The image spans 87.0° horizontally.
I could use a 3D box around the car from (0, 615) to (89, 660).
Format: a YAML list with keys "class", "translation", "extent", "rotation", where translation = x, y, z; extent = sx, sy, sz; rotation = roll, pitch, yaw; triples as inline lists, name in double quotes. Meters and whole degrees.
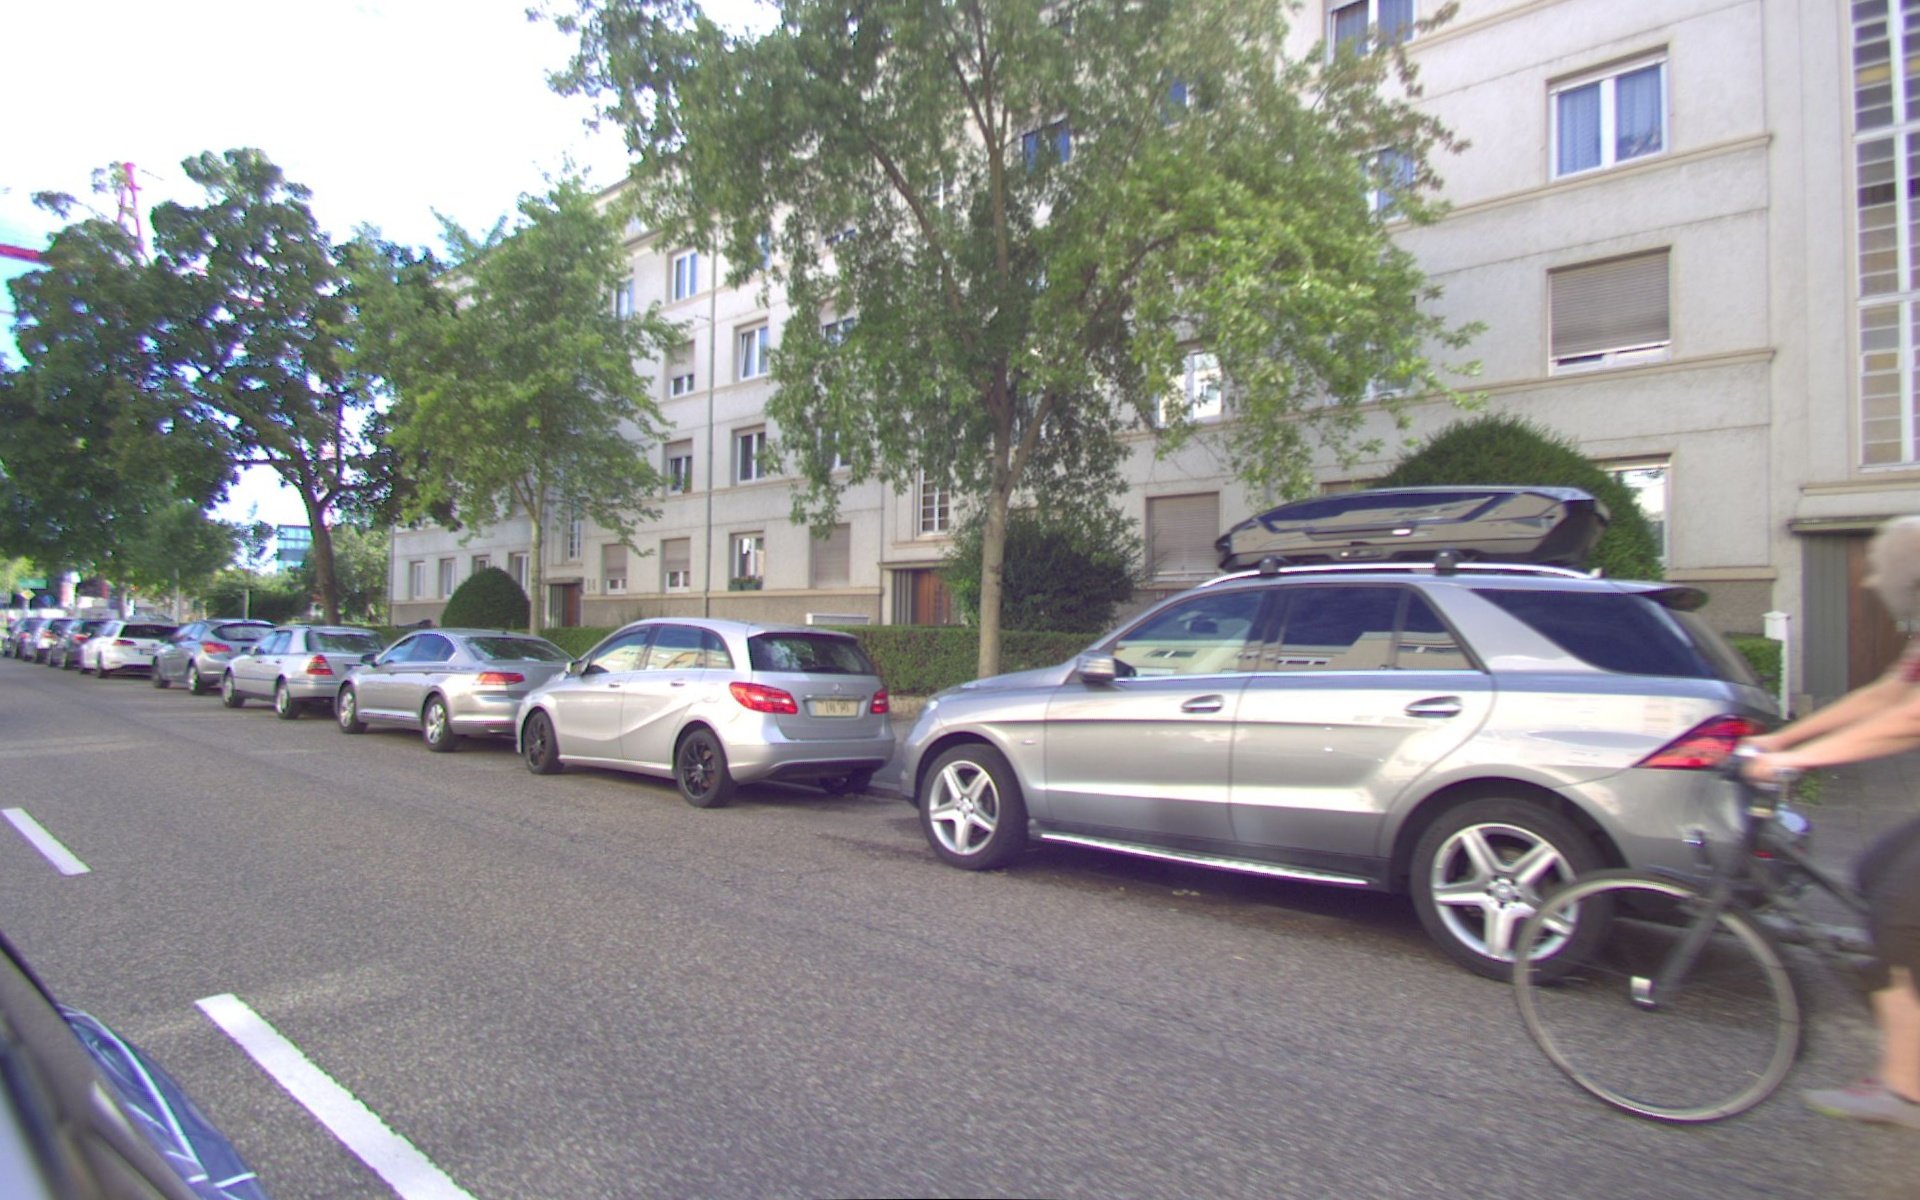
- class: "car"
  translation: [-32.817, 1.323, 36.025]
  extent: [4.415, 1.497, 1.908]
  rotation: [-1, -4, 39]

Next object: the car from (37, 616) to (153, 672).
- class: "car"
  translation: [-25.123, 1.229, 29.339]
  extent: [4.681, 1.497, 1.836]
  rotation: [-1, -3, 41]

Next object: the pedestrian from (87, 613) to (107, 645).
- class: "pedestrian"
  translation: [-48.678, 1.613, 57.073]
  extent: [0.775, 1.781, 0.734]
  rotation: [-1, -2, 40]

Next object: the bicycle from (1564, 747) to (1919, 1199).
- class: "bicycle"
  translation: [2.529, 0.910, 2.348]
  extent: [1.857, 0.930, 0.635]
  rotation: [-1, -3, 41]

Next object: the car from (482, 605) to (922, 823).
- class: "car"
  translation: [-2.612, 0.909, 9.585]
  extent: [4.458, 1.585, 1.835]
  rotation: [-1, -4, 42]

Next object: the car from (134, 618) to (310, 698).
- class: "car"
  translation: [-15.551, 1.160, 21.243]
  extent: [4.679, 1.497, 1.837]
  rotation: [-1, -3, 39]

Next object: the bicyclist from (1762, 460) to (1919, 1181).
- class: "bicyclist"
  translation: [2.533, 0.498, 2.369]
  extent: [0.989, 1.613, 0.634]
  rotation: [-1, -3, 41]

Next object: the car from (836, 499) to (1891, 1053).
- class: "car"
  translation: [1.718, 0.657, 5.643]
  extent: [4.966, 1.807, 1.858]
  rotation: [-1, -4, 40]

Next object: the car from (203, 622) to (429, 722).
- class: "car"
  translation: [-10.587, 1.110, 16.488]
  extent: [4.662, 1.404, 1.720]
  rotation: [-1, -5, 40]

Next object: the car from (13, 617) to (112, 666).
- class: "car"
  translation: [-29.207, 1.341, 32.906]
  extent: [4.366, 1.497, 1.801]
  rotation: [-1, -4, 41]

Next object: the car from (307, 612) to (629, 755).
- class: "car"
  translation: [-6.441, 0.980, 12.969]
  extent: [4.941, 1.497, 1.836]
  rotation: [-1, -5, 41]

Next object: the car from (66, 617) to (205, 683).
- class: "car"
  translation: [-21.072, 1.247, 25.789]
  extent: [4.795, 1.497, 1.836]
  rotation: [-1, -6, 41]
